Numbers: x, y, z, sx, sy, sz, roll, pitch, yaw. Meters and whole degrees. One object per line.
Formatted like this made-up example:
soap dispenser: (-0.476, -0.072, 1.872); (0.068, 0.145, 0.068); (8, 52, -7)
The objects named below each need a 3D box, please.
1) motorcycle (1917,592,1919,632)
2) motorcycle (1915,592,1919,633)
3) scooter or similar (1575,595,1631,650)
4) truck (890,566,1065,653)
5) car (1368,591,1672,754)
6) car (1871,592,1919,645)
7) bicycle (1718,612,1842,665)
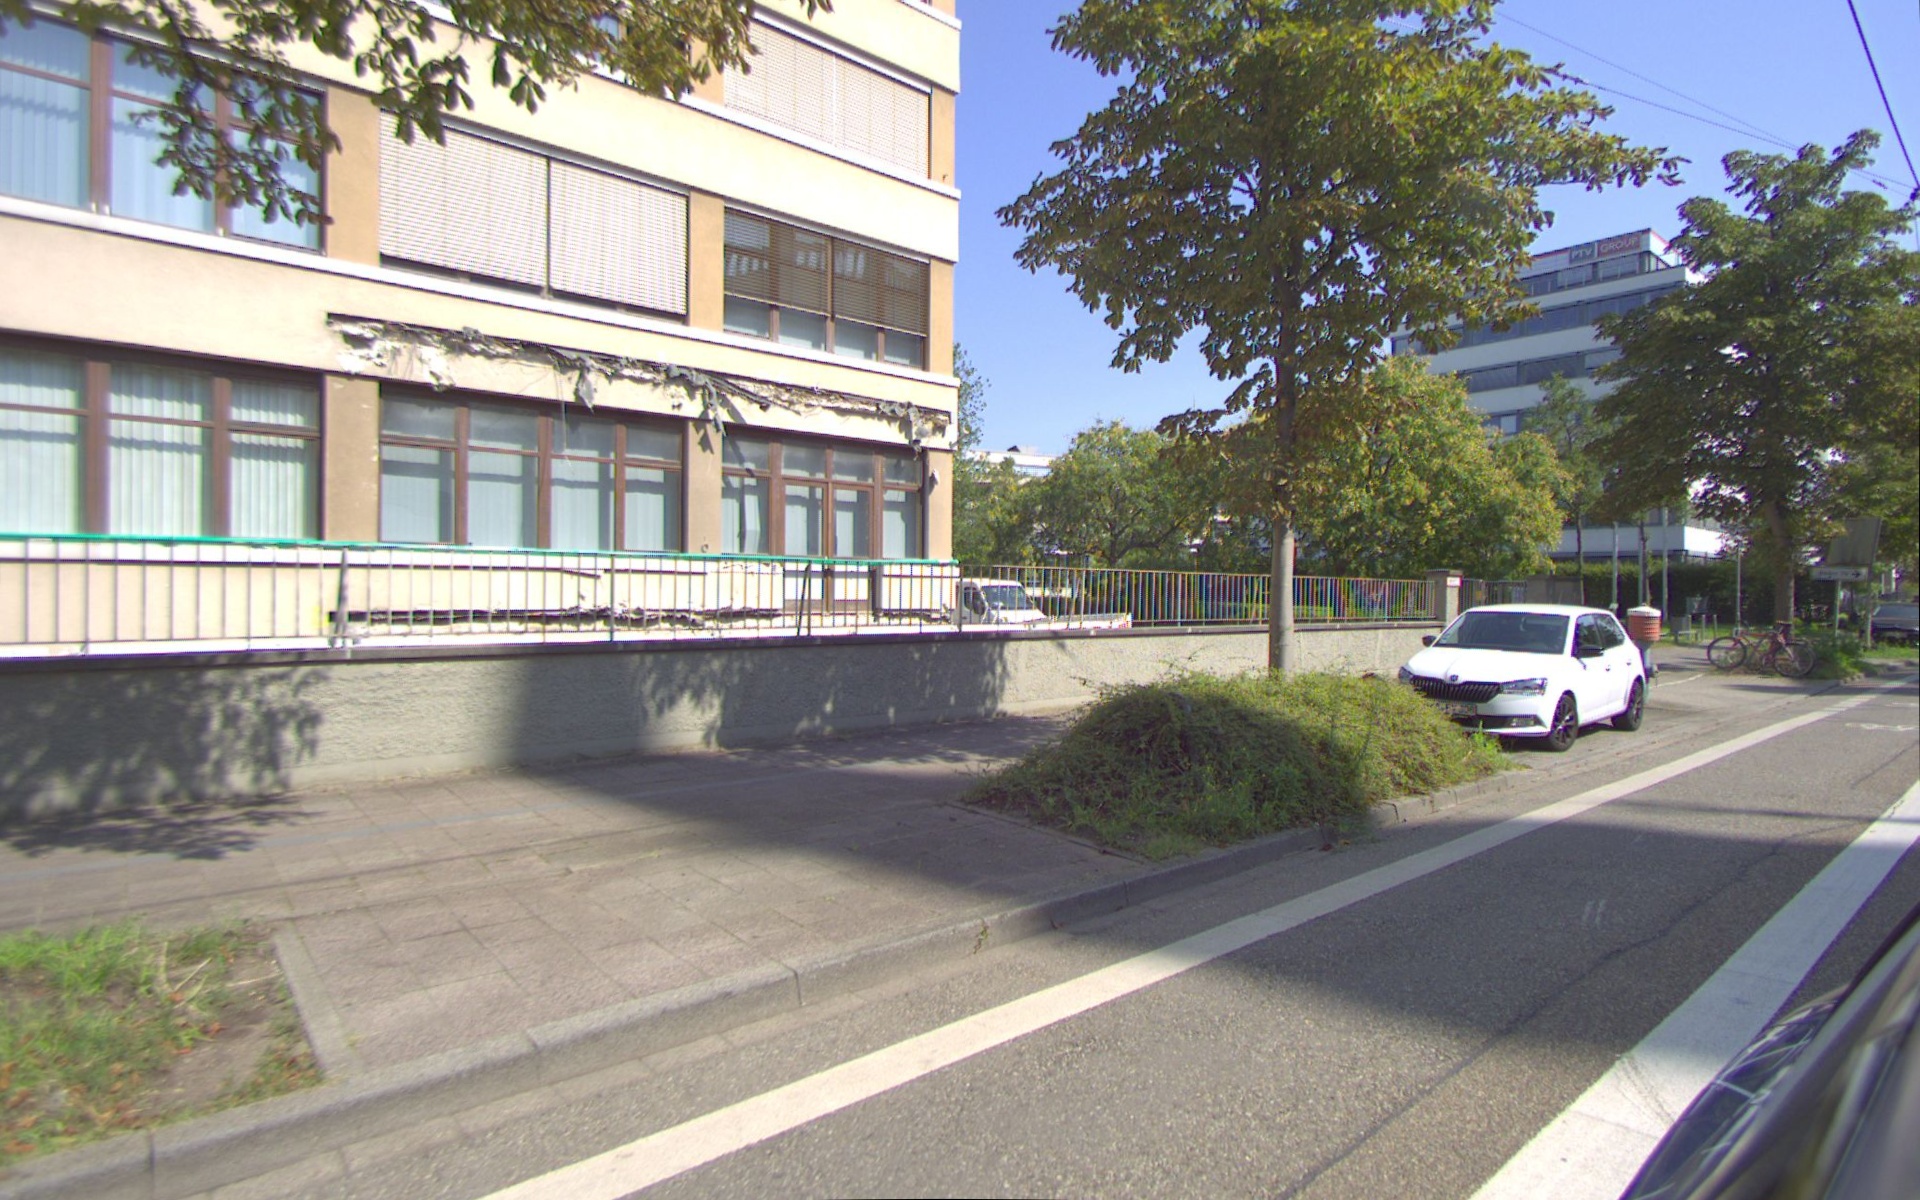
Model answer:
motorcycle: (37.552, 0.453, 38.002); (0.836, 1.535, 2.456); (0, 0, -2)
motorcycle: (36.116, 0.459, 37.119); (0.844, 1.535, 2.434); (0, 0, 25)
scooter or similar: (15.321, 0.513, 24.104); (1.784, 1.275, 0.557); (0, 0, -38)
truck: (0.392, 0.262, 30.256); (2.257, 2.355, 5.520); (0, 0, -38)
car: (6.486, 0.667, 11.532); (4.142, 1.499, 1.663); (-1, 1, -40)
car: (29.591, 0.530, 31.189); (4.530, 1.534, 1.759); (0, 1, -42)
bicycle: (15.962, 0.732, 19.738); (0.548, 0.970, 1.815); (0, 0, -40)
